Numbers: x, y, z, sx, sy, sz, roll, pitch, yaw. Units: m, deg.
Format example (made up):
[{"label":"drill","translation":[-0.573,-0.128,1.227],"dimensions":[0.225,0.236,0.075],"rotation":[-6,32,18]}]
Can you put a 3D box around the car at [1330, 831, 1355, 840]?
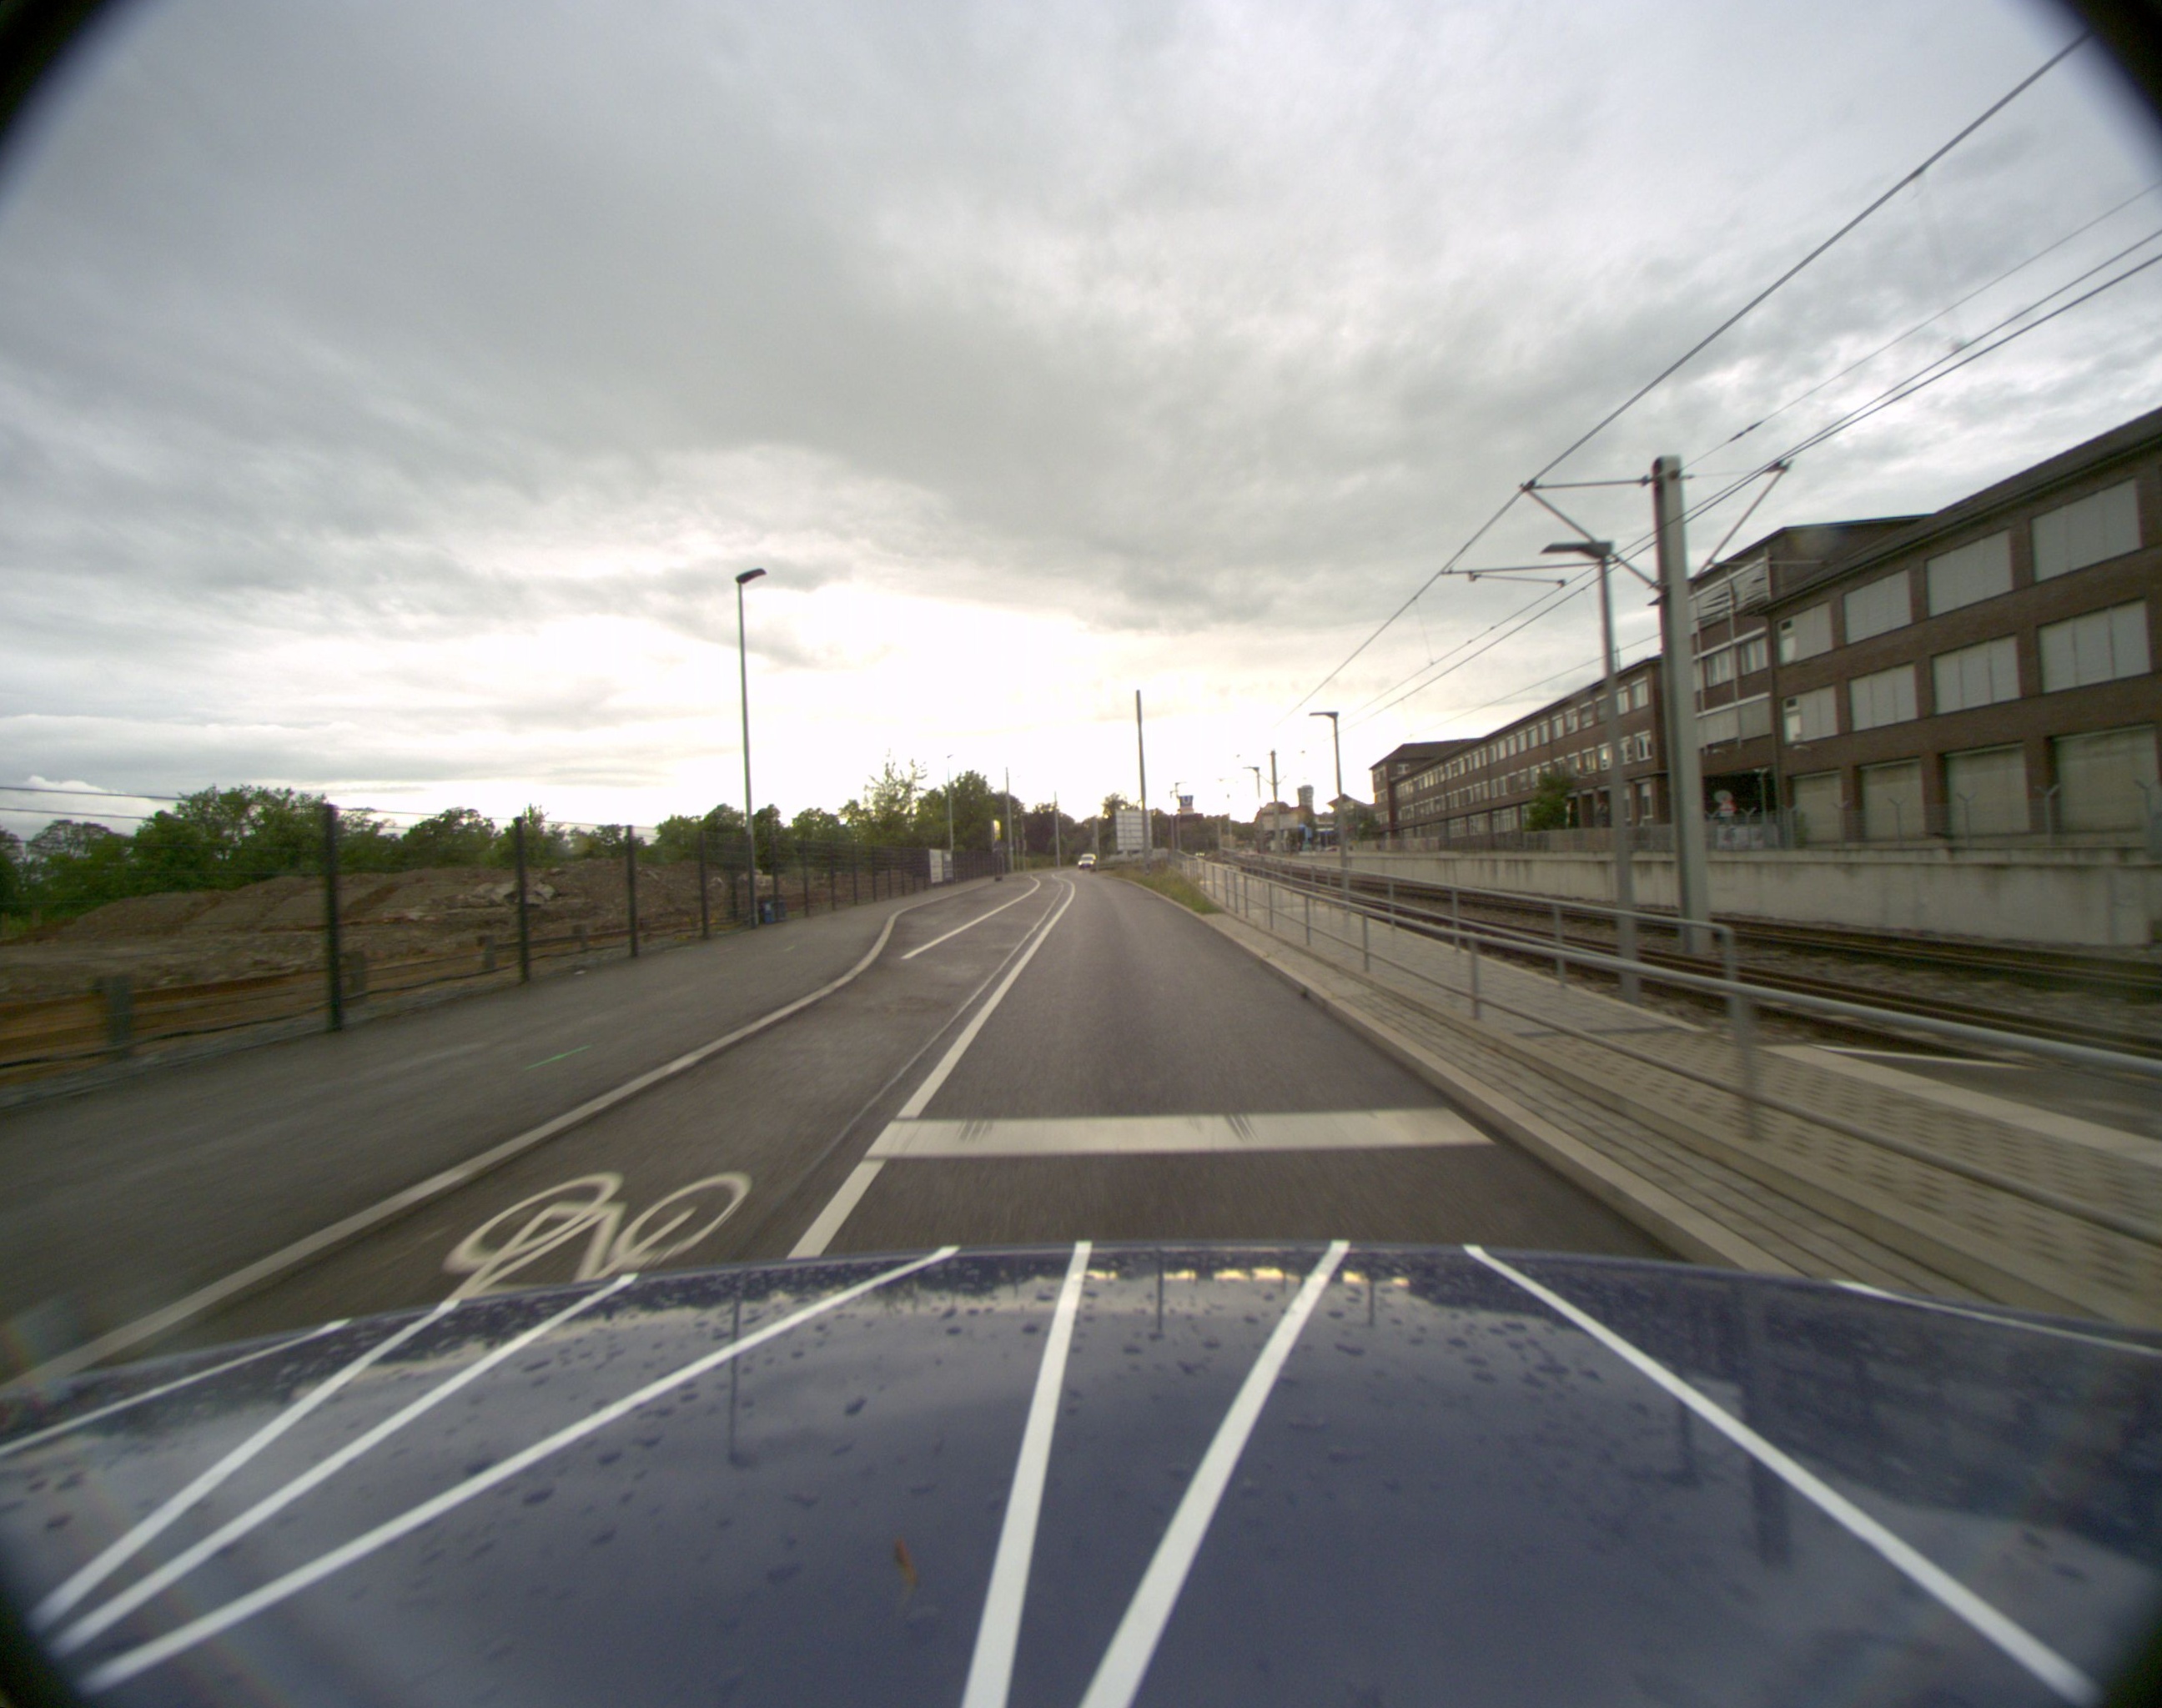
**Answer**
[{"label":"car","translation":[55.071,-3.886,160.204],"dimensions":[4.573,1.750,2.001],"rotation":[-2,0,10]}]

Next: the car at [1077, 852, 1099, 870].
[{"label":"car","translation":[0.845,0.794,92.377],"dimensions":[1.997,2.002,4.002],"rotation":[-1,2,10]}]

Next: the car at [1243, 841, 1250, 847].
[{"label":"car","translation":[54.070,-3.322,248.568],"dimensions":[1.997,2.002,4.002],"rotation":[-1,0,7]}]
